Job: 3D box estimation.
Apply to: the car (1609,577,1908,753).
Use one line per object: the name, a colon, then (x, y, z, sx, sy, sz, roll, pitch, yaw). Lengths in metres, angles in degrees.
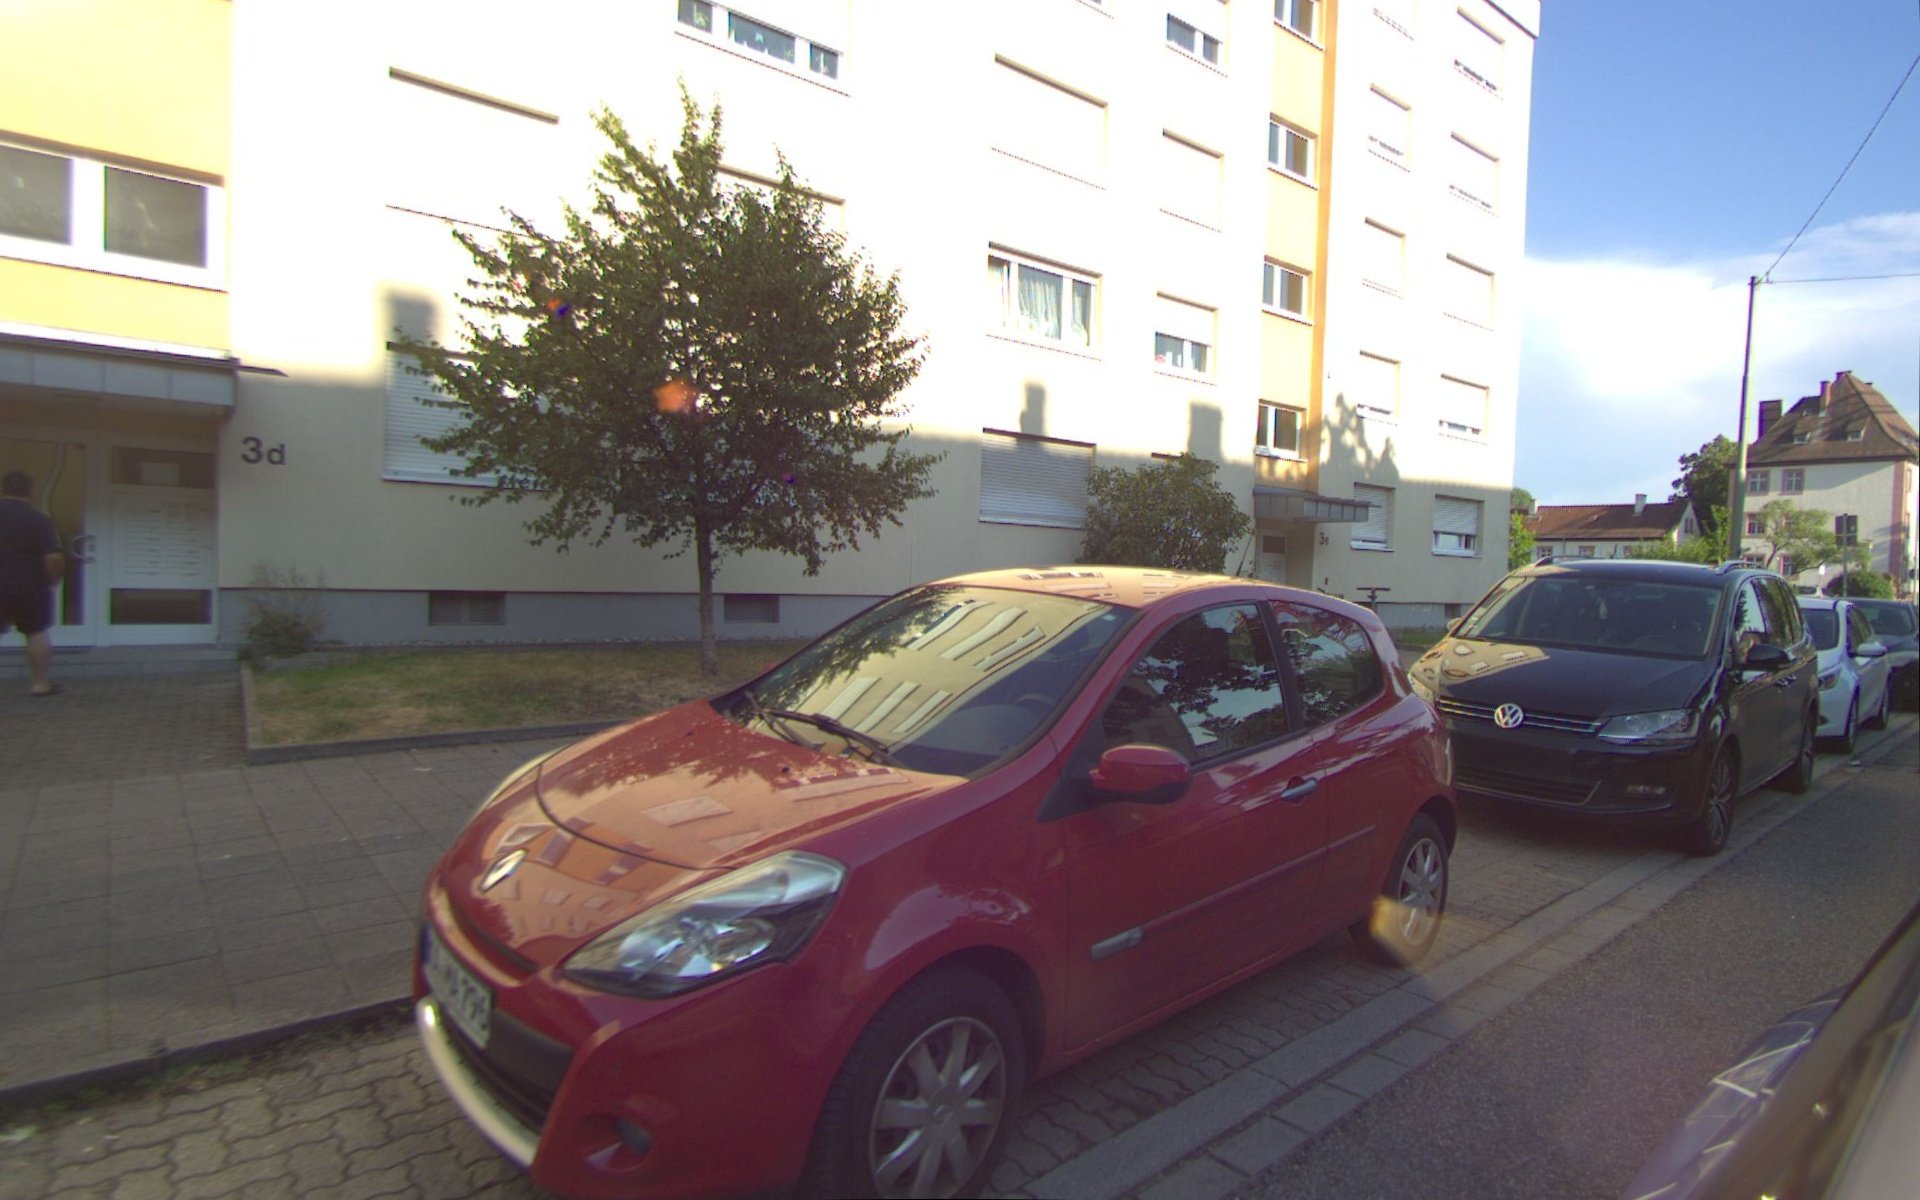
car: (8.610, 0.541, 10.800, 3.930, 1.527, 1.774, -1, 0, -41)

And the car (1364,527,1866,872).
car: (4.824, 0.437, 7.144, 4.565, 1.698, 1.775, -1, 1, -41)

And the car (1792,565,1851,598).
car: (45.821, -0.962, 53.829, 3.928, 1.683, 1.656, -1, 0, -39)

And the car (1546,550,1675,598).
car: (26.236, -1.029, 40.912, 1.965, 1.816, 3.995, -1, 0, -39)

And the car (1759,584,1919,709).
car: (13.319, 0.557, 14.846, 4.544, 1.525, 1.801, -2, 2, -43)

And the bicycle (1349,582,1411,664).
bicycle: (6.504, 0.332, 15.652, 1.219, 1.206, 0.334, -1, 4, -42)

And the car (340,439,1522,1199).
car: (0.234, 0.480, 3.583, 3.930, 1.636, 1.775, -1, 4, -41)

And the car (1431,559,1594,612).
car: (18.514, -0.529, 34.107, 1.700, 1.621, 4.491, -1, 3, -37)

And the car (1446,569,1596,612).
car: (20.320, -0.315, 36.831, 1.700, 1.473, 4.489, -1, 0, -37)

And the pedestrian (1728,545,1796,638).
pedestrian: (17.169, -0.181, 21.666, 1.257, 1.914, 0.890, -1, 0, -40)

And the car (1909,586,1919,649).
car: (26.454, 0.498, 26.463, 4.863, 1.579, 1.890, -1, 7, -43)

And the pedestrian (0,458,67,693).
pedestrian: (-7.066, -0.197, 7.574, 0.527, 1.678, 0.767, -1, 4, -40)
